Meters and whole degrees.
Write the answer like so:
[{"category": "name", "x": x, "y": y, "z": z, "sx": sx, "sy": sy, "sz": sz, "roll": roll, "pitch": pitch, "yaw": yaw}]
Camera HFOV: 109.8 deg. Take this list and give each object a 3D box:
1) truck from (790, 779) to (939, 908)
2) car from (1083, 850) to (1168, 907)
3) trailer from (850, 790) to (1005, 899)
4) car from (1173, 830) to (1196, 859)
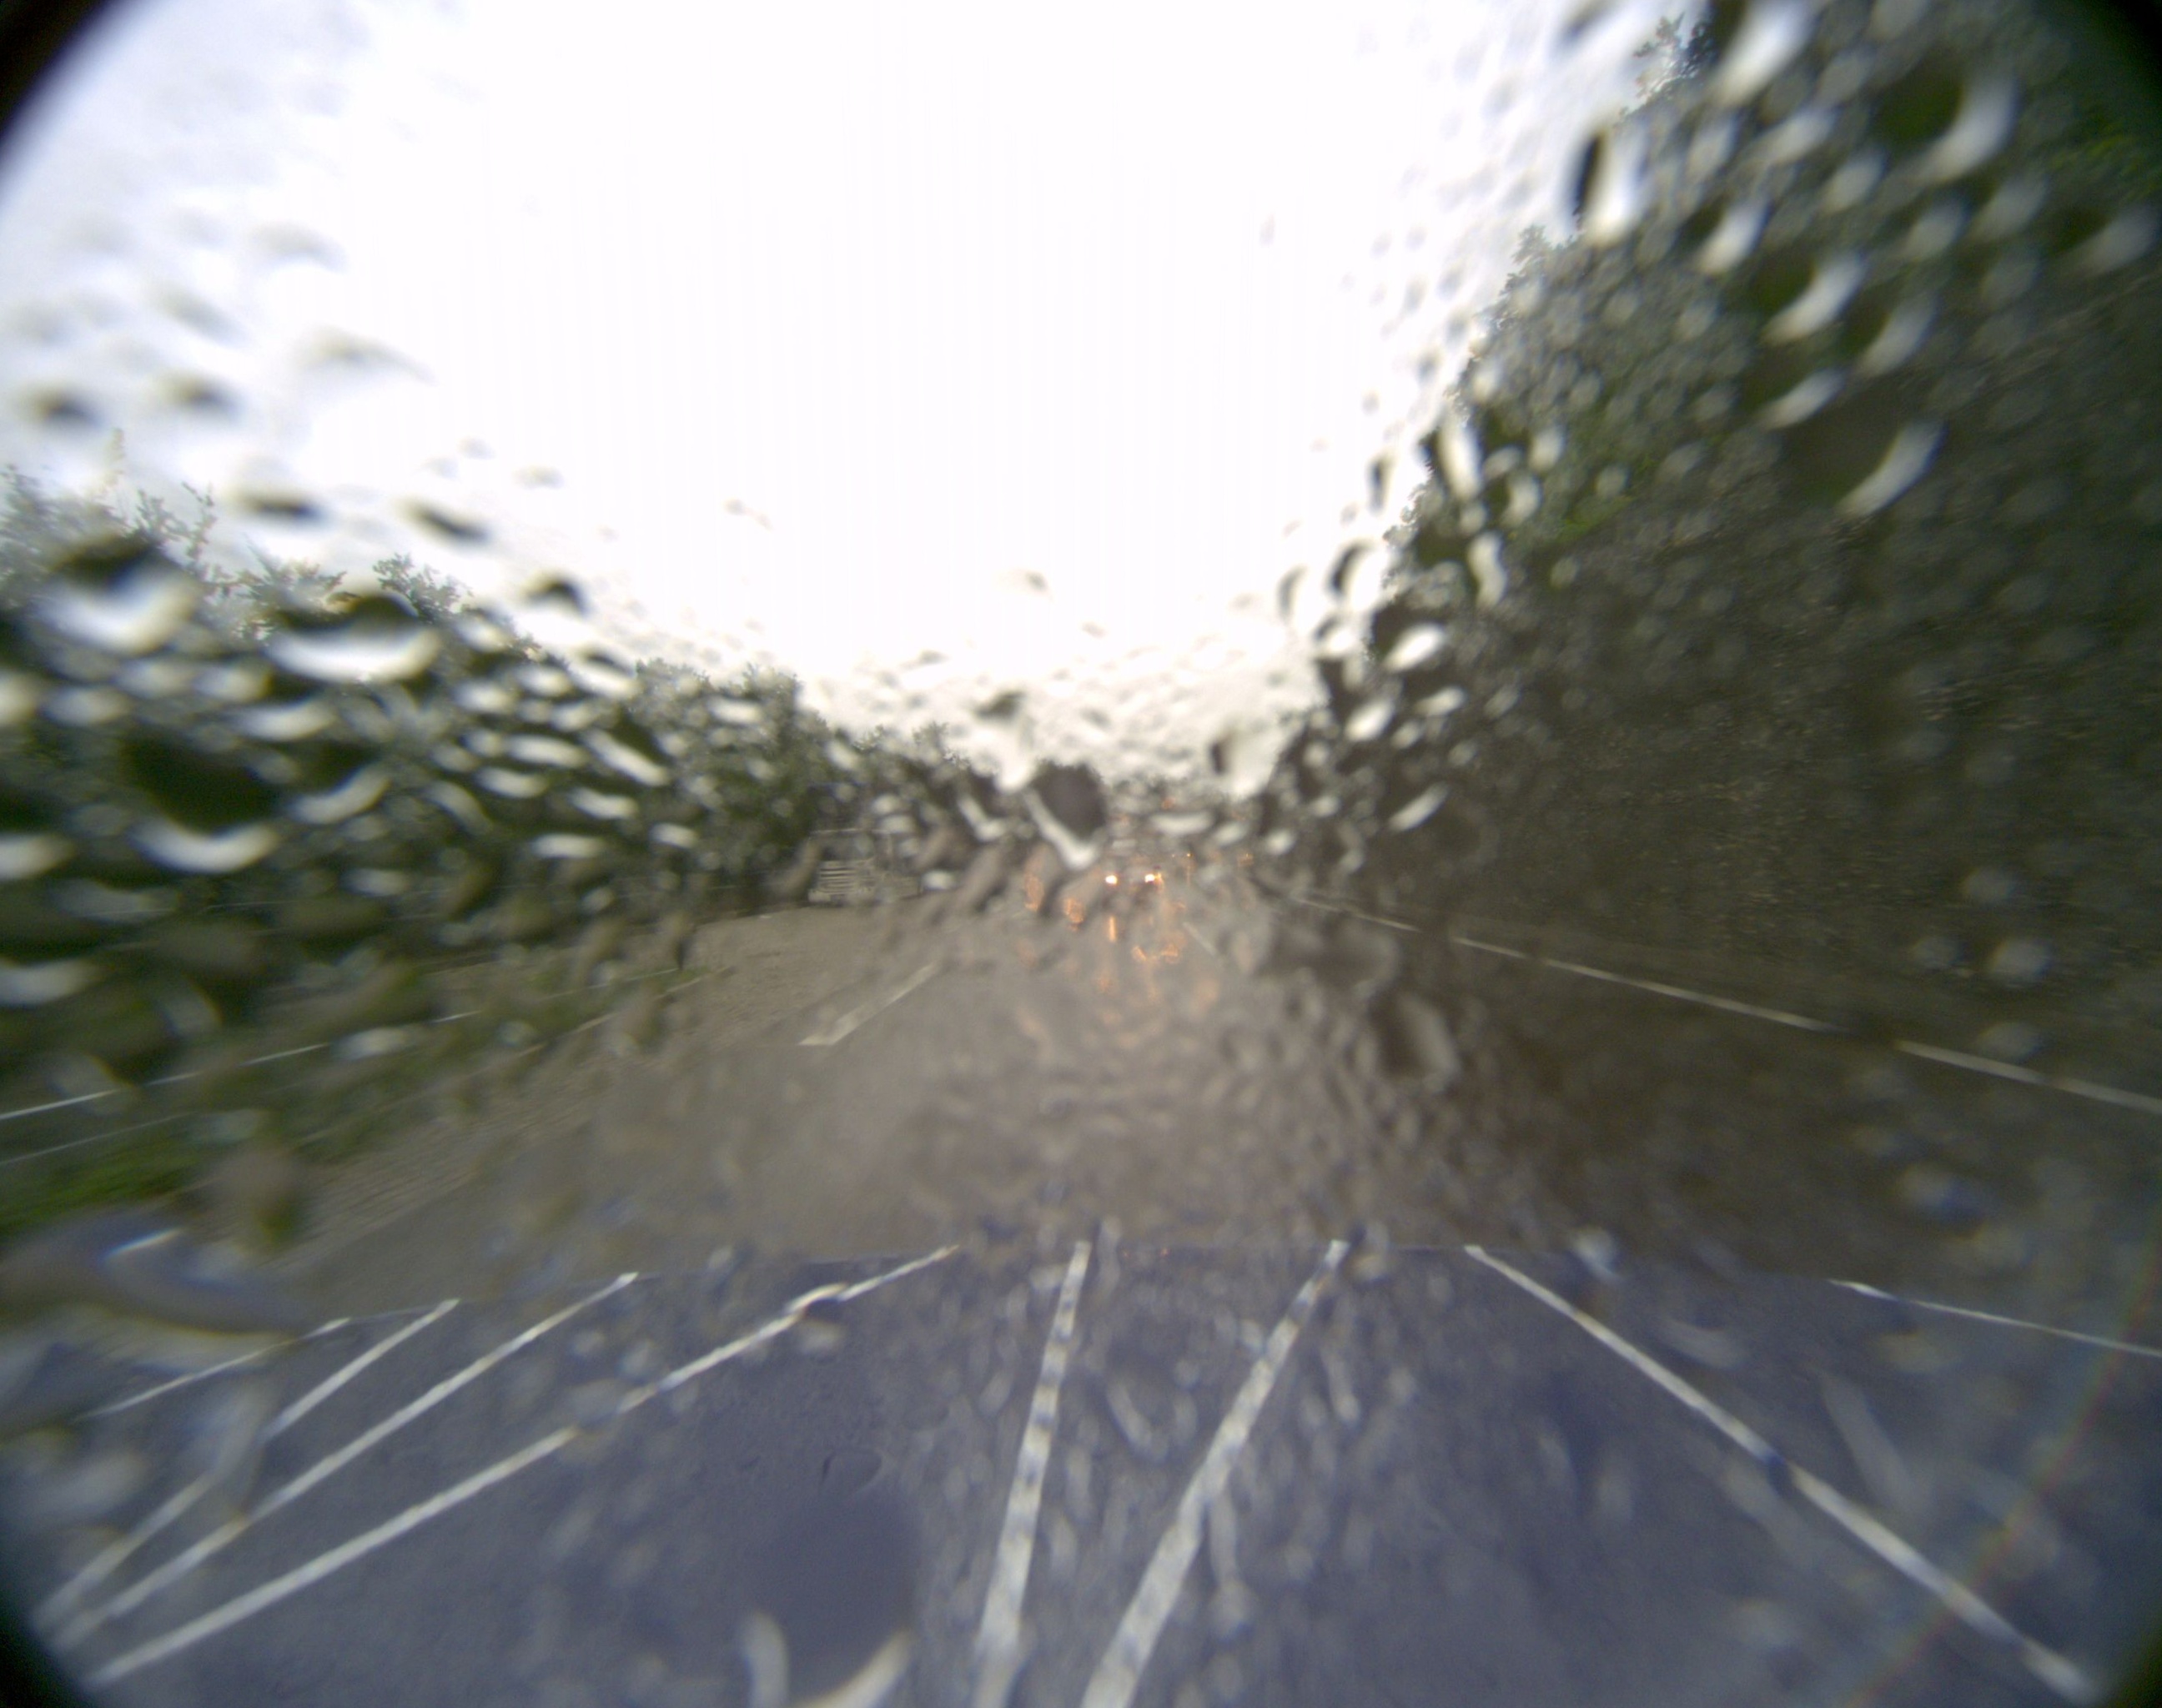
[{"category": "truck", "x": -7.793, "y": -0.391, "z": 28.495, "sx": 2.902, "sy": 4.221, "sz": 6.883, "roll": -1, "pitch": 1, "yaw": 6}, {"category": "car", "x": 1.441, "y": 0.698, "z": 24.539, "sx": 2.359, "sy": 1.549, "sz": 5.500, "roll": -2, "pitch": 0, "yaw": 3}, {"category": "trailer", "x": -6.795, "y": -0.503, "z": 37.249, "sx": 2.898, "sy": 4.221, "sz": 14.702, "roll": -1, "pitch": 1, "yaw": 7}, {"category": "car", "x": 11.250, "y": -1.040, "z": 82.567, "sx": 1.739, "sy": 3.008, "sz": 4.004, "roll": 0, "pitch": 2, "yaw": 17}]
